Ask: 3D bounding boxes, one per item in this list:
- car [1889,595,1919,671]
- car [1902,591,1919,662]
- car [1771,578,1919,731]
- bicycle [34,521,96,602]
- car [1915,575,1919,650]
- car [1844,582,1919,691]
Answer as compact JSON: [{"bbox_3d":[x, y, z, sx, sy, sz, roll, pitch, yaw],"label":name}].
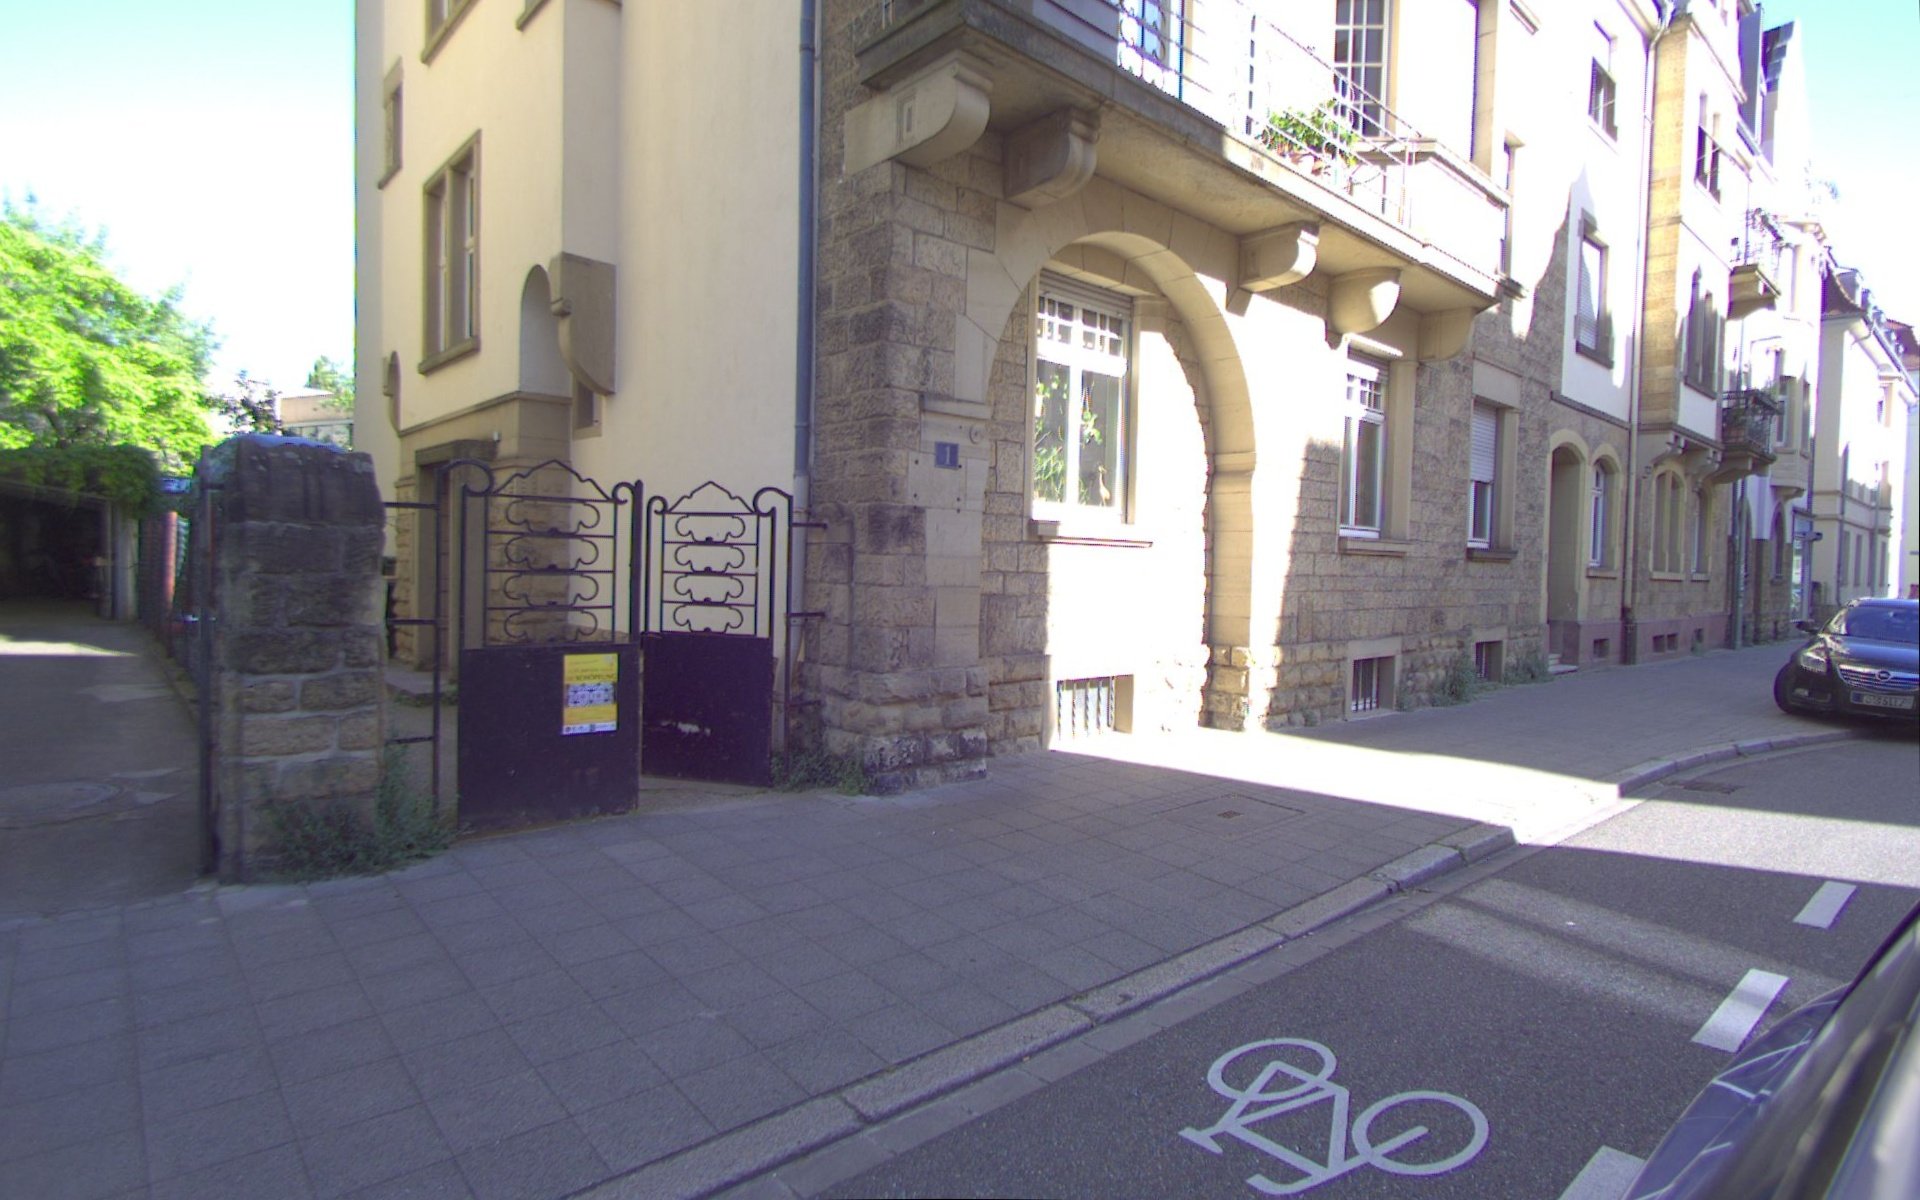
[{"bbox_3d":[18.799,0.621,18.973,3.667,1.295,1.659,-1,4,-42],"label":"car"},{"bbox_3d":[22.175,0.584,22.194,4.247,1.440,1.823,-1,4,-42],"label":"car"},{"bbox_3d":[11.486,0.571,12.167,4.043,1.526,2.023,-1,5,-42],"label":"car"},{"bbox_3d":[-18.297,-0.814,20.727,0.903,1.530,2.672,0,4,-41],"label":"bicycle"},{"bbox_3d":[26.188,0.340,26.006,4.247,1.860,2.004,-1,4,-42],"label":"car"},{"bbox_3d":[15.535,0.568,15.869,4.247,1.527,2.004,0,3,-42],"label":"car"}]
